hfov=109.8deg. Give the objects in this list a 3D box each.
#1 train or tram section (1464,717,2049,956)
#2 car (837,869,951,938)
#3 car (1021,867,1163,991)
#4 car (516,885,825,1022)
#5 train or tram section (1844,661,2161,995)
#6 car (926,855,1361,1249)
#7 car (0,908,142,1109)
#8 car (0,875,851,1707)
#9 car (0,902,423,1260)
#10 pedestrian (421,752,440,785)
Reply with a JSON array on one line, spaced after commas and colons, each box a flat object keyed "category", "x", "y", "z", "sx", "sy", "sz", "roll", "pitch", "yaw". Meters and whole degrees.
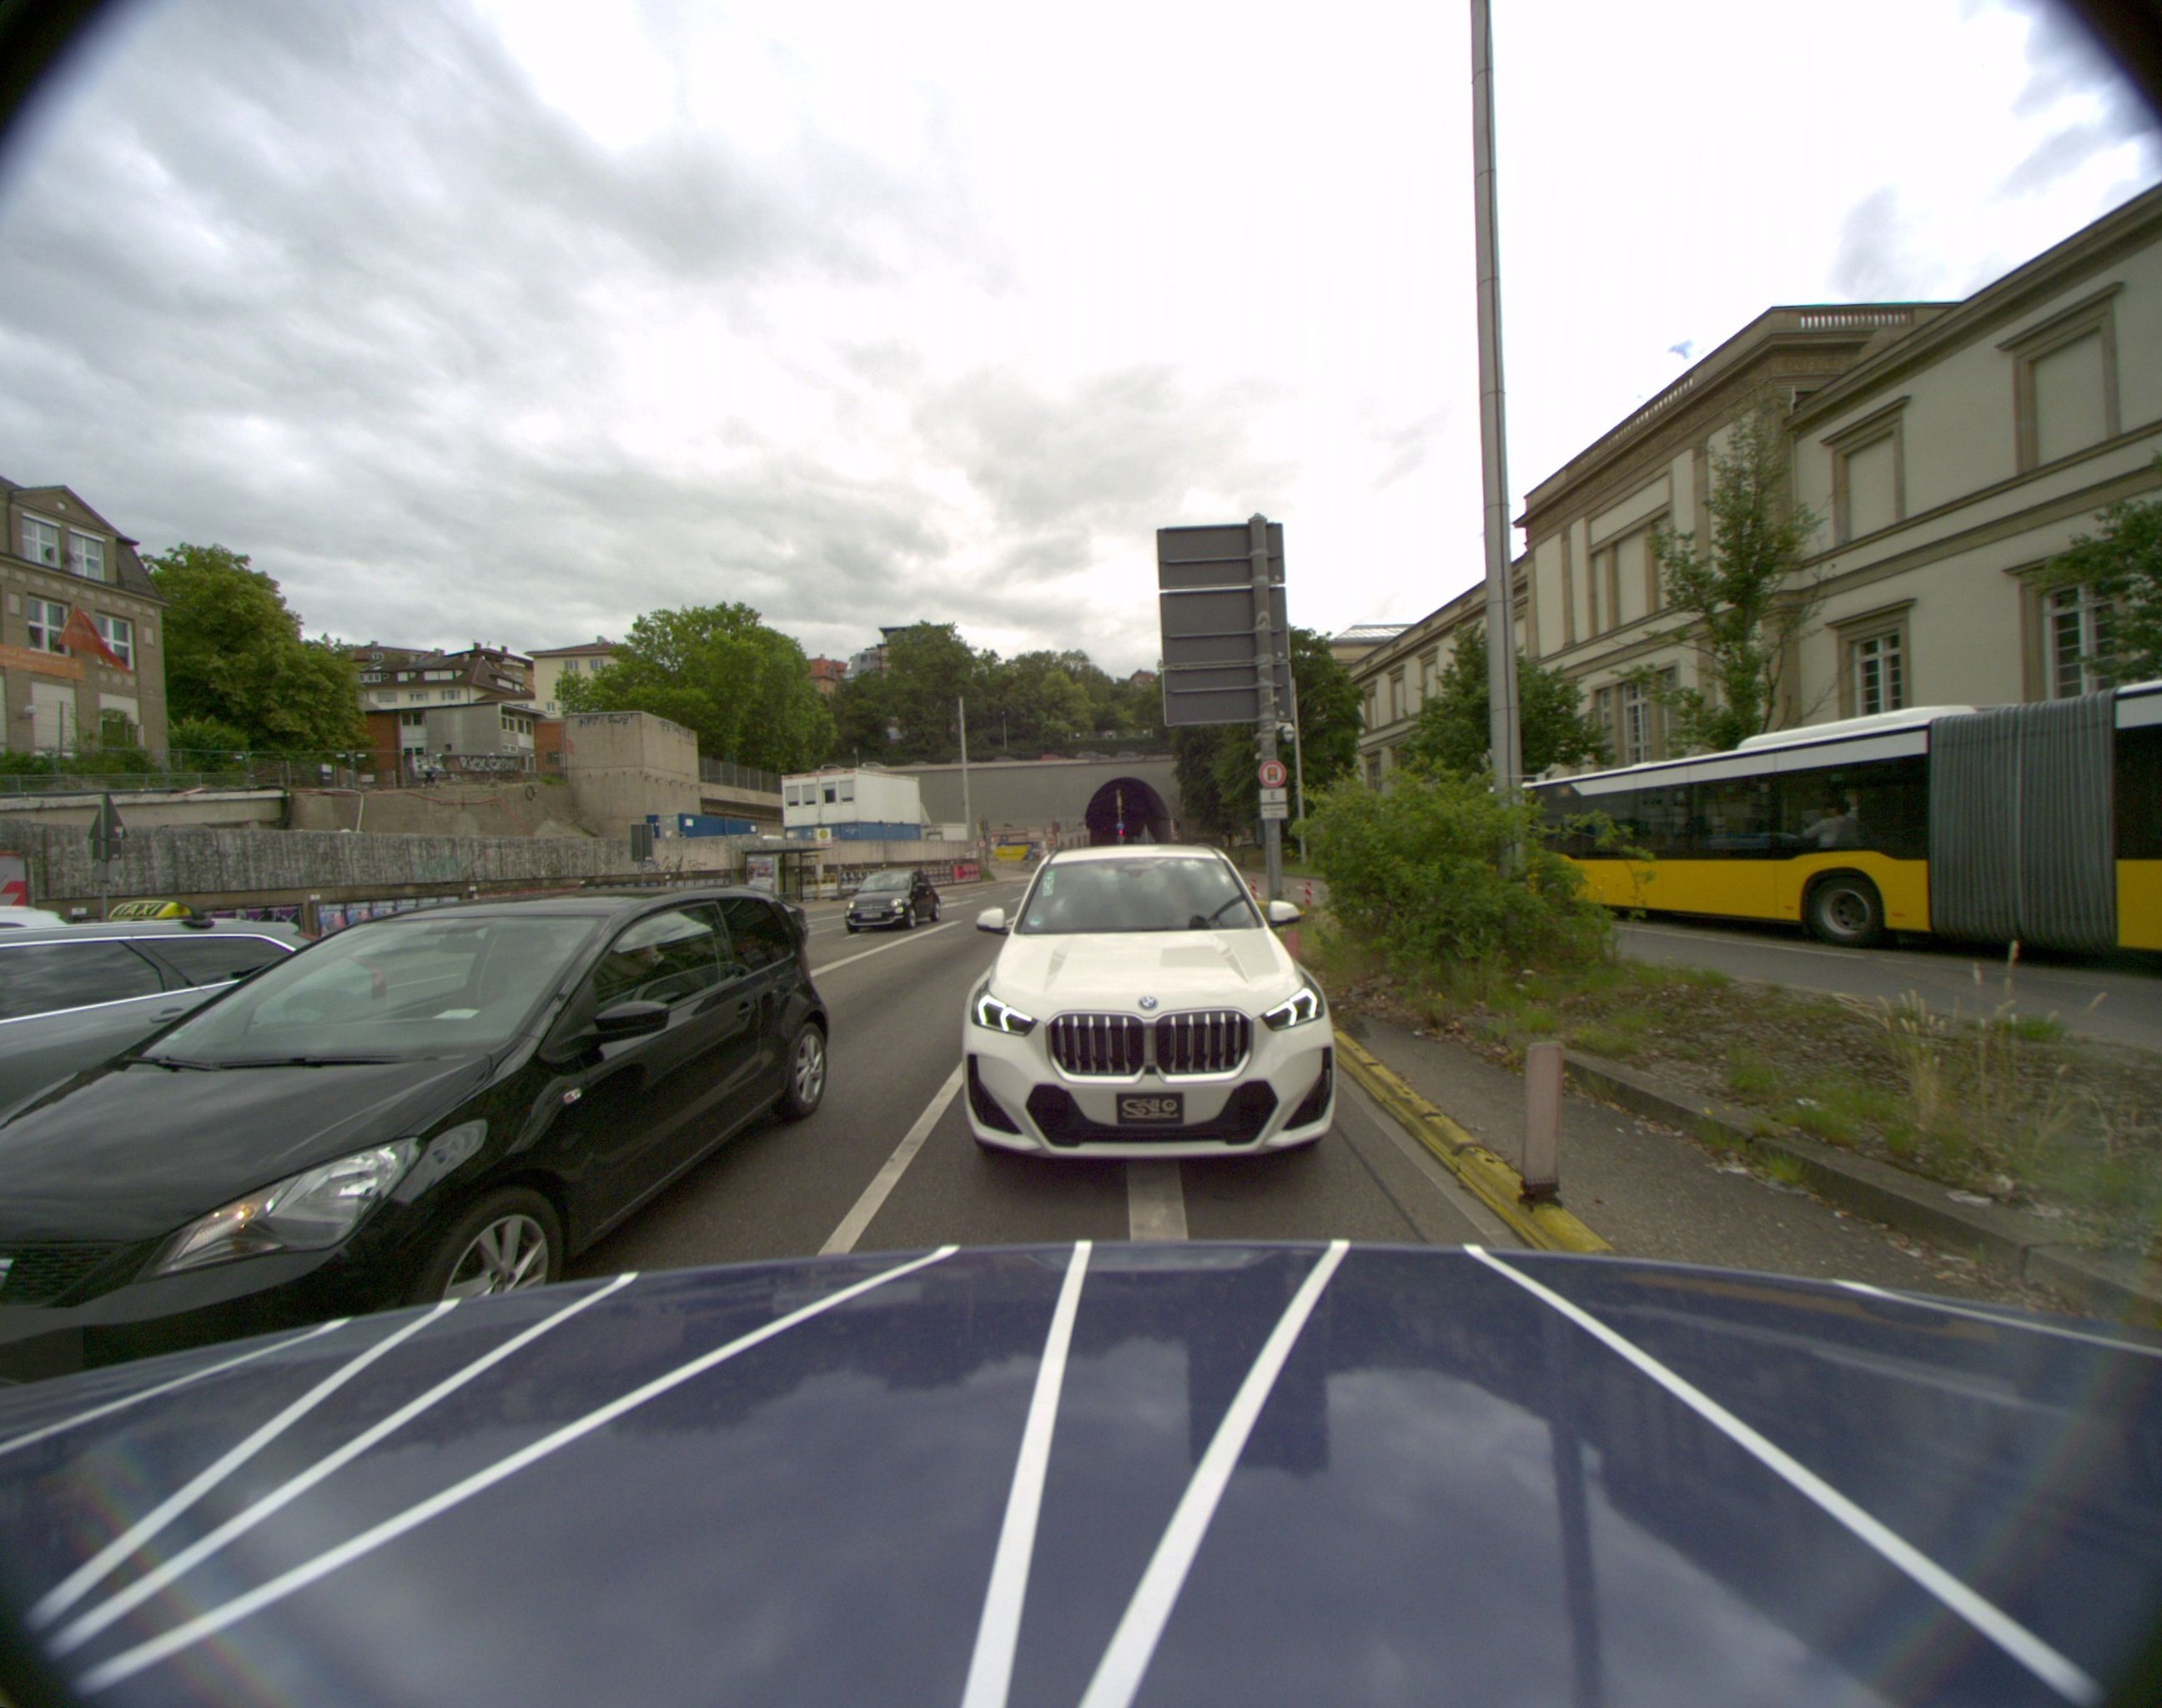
[{"category": "train or tram section", "x": 11.155, "y": -0.231, "z": 14.556, "sx": 2.701, "sy": 3.053, "sz": 9.375, "roll": -1, "pitch": 0, "yaw": -1}, {"category": "car", "x": -4.703, "y": 1.192, "z": 19.654, "sx": 1.720, "sy": 1.450, "sz": 3.782, "roll": -3, "pitch": 0, "yaw": 4}, {"category": "car", "x": 0.225, "y": 0.986, "z": 11.603, "sx": 1.756, "sy": 1.427, "sz": 3.911, "roll": -2, "pitch": 0, "yaw": 3}, {"category": "car", "x": -5.396, "y": 1.222, "z": 10.765, "sx": 1.826, "sy": 1.356, "sz": 4.219, "roll": -2, "pitch": 0, "yaw": 4}, {"category": "train or tram section", "x": 11.249, "y": -0.257, "z": 5.196, "sx": 2.700, "sy": 3.053, "sz": 9.336, "roll": -1, "pitch": 0, "yaw": 0}, {"category": "car", "x": 0.343, "y": 0.844, "z": 5.127, "sx": 1.756, "sy": 1.547, "sz": 3.911, "roll": -2, "pitch": 1, "yaw": 3}, {"category": "car", "x": -9.147, "y": 1.255, "z": 4.584, "sx": 1.826, "sy": 1.457, "sz": 4.073, "roll": -2, "pitch": 1, "yaw": 0}, {"category": "car", "x": -2.526, "y": 0.975, "z": 3.280, "sx": 1.661, "sy": 1.547, "sz": 3.911, "roll": -2, "pitch": 1, "yaw": 3}, {"category": "car", "x": -5.821, "y": 1.140, "z": 3.459, "sx": 1.826, "sy": 1.457, "sz": 4.217, "roll": -2, "pitch": 1, "yaw": 2}, {"category": "pedestrian", "x": -37.145, "y": -4.858, "z": 43.416, "sx": 0.554, "sy": 1.784, "sz": 0.570, "roll": -2, "pitch": 1, "yaw": 24}]
